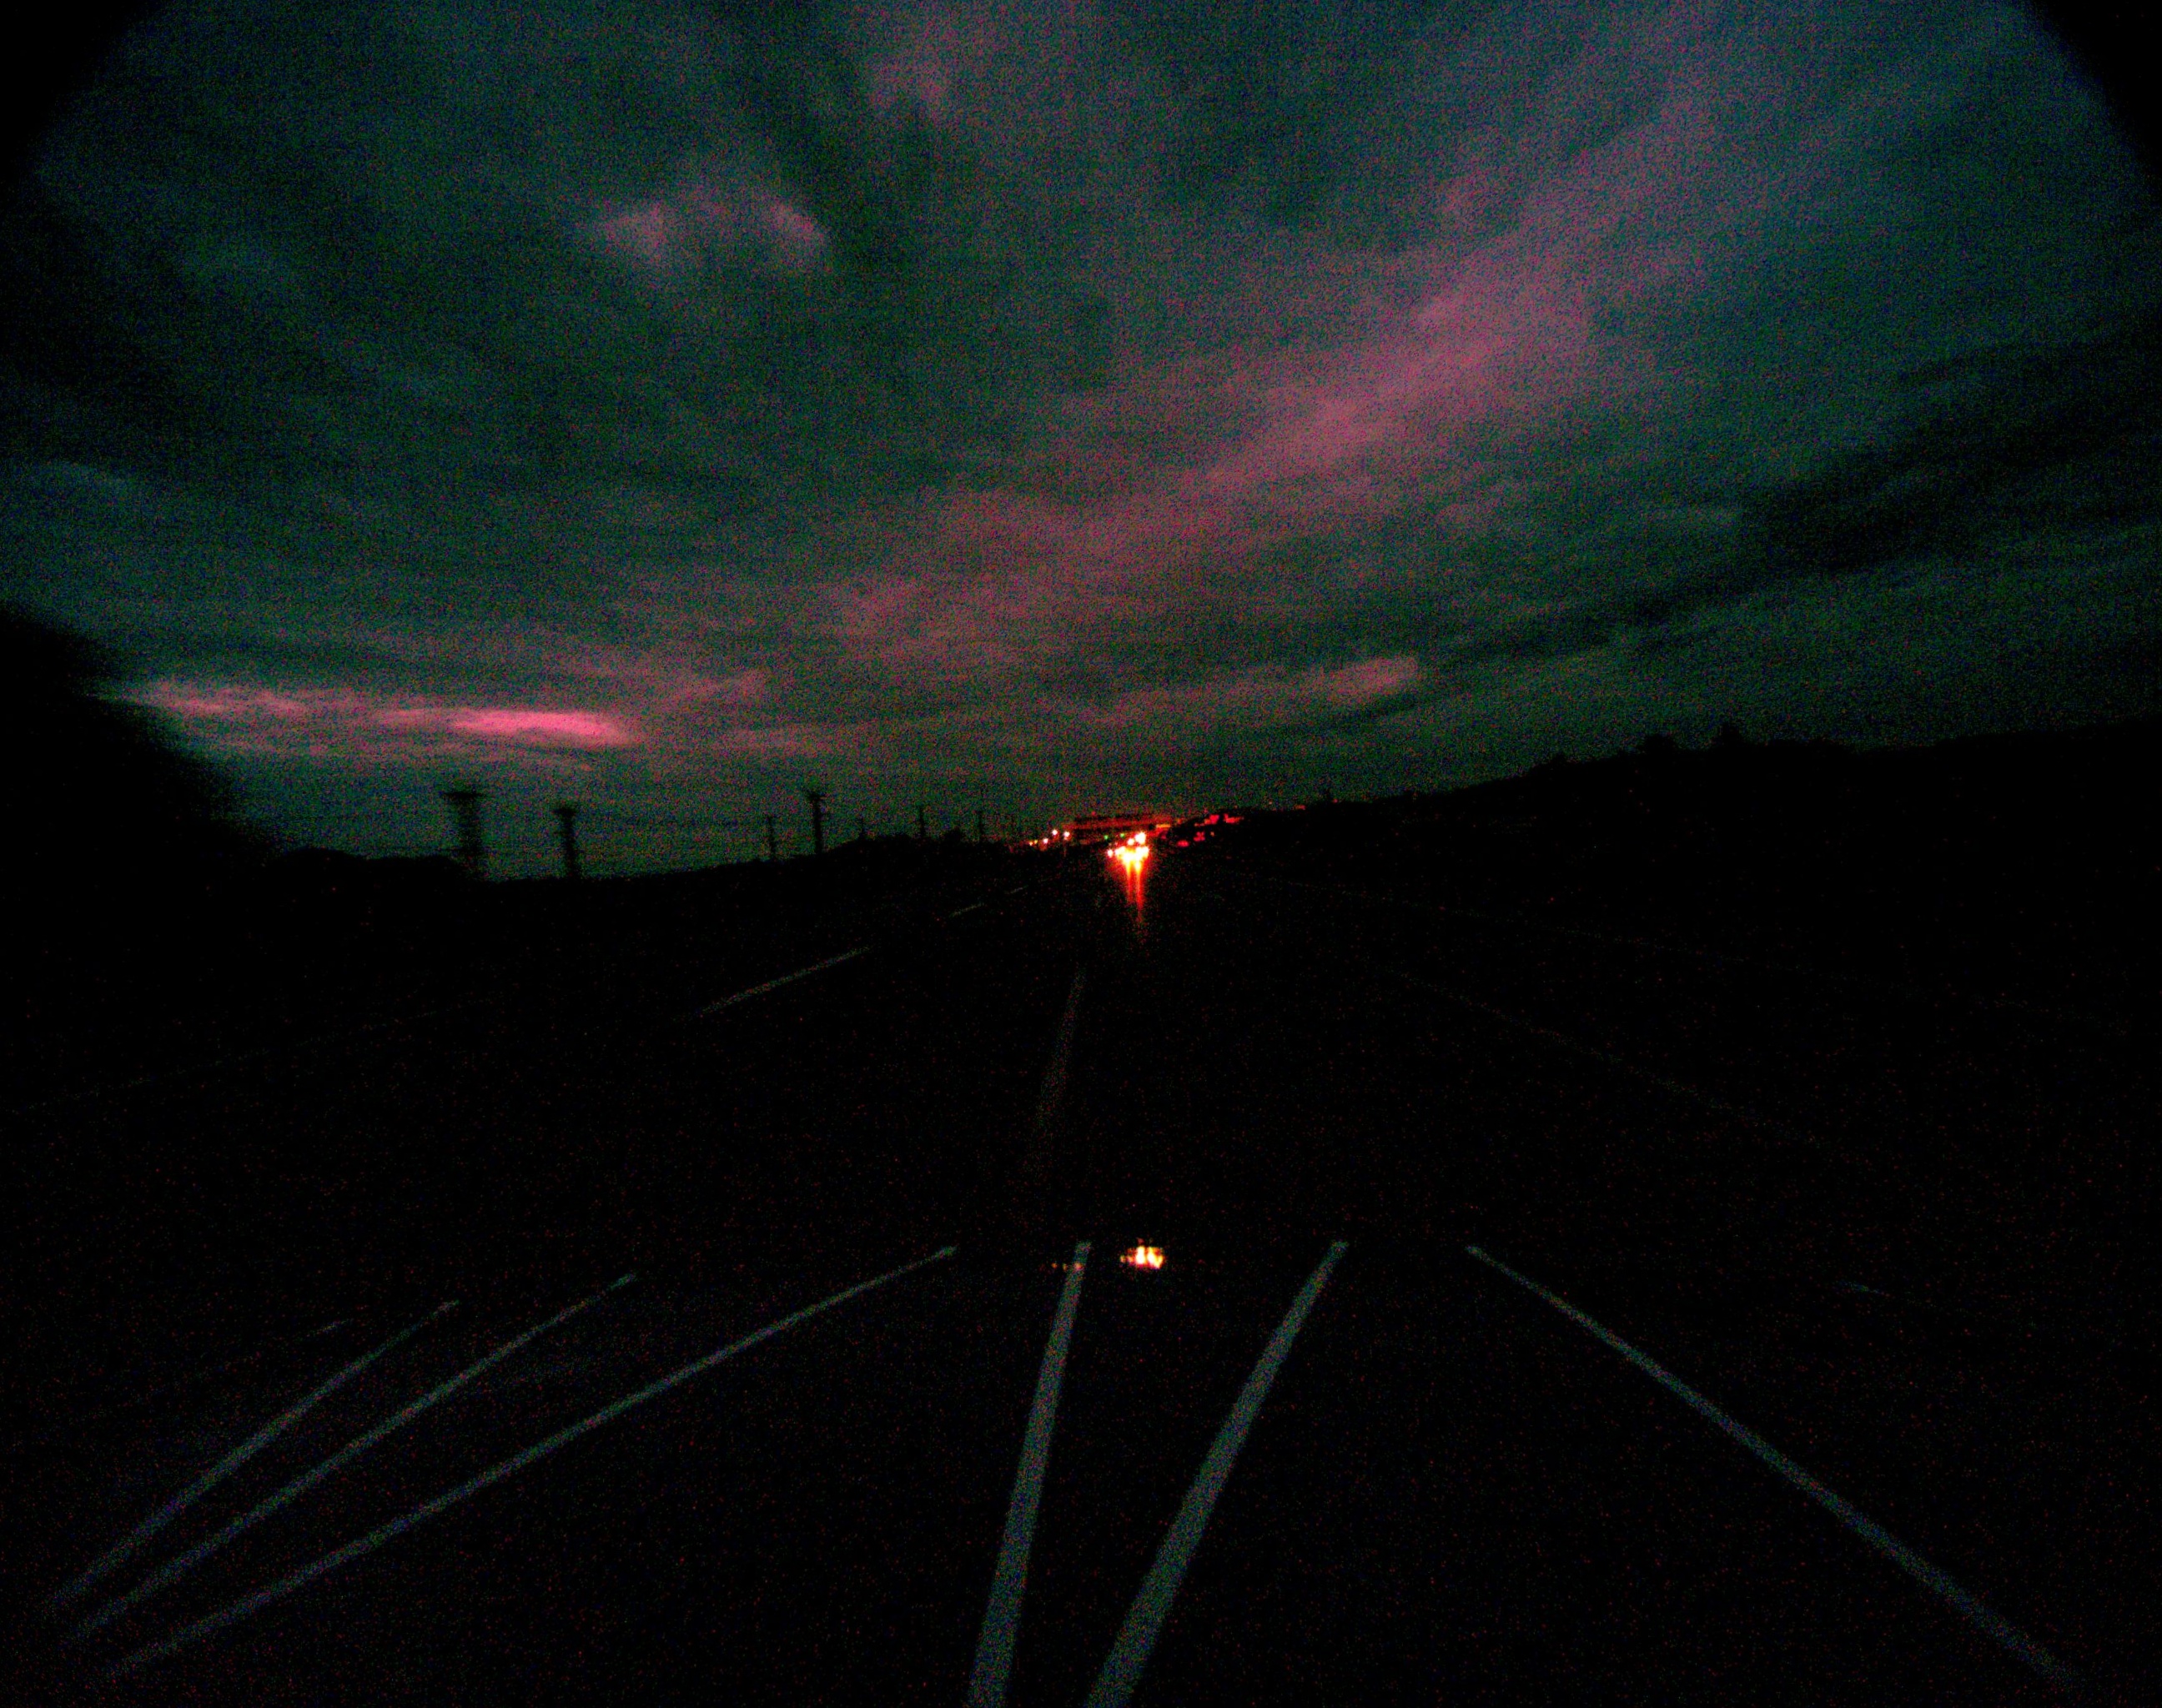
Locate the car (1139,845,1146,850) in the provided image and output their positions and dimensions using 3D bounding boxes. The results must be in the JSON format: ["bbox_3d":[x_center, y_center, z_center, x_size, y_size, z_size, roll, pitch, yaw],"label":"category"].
[{"bbox_3d":[18.795,-1.972,233.098,1.998,1.342,4.176,-5,1,5],"label":"car"}]

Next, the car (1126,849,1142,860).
[{"bbox_3d":[6.998,0.048,100.458,1.998,1.342,4.176,0,1,4],"label":"car"}]

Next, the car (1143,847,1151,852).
[{"bbox_3d":[17.410,-1.212,201.368,1.998,1.342,4.175,-5,1,3],"label":"car"}]

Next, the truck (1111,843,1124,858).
[{"bbox_3d":[10.664,-1.000,222.143,3.059,4.047,10.524,-2,0,5],"label":"truck"}]
